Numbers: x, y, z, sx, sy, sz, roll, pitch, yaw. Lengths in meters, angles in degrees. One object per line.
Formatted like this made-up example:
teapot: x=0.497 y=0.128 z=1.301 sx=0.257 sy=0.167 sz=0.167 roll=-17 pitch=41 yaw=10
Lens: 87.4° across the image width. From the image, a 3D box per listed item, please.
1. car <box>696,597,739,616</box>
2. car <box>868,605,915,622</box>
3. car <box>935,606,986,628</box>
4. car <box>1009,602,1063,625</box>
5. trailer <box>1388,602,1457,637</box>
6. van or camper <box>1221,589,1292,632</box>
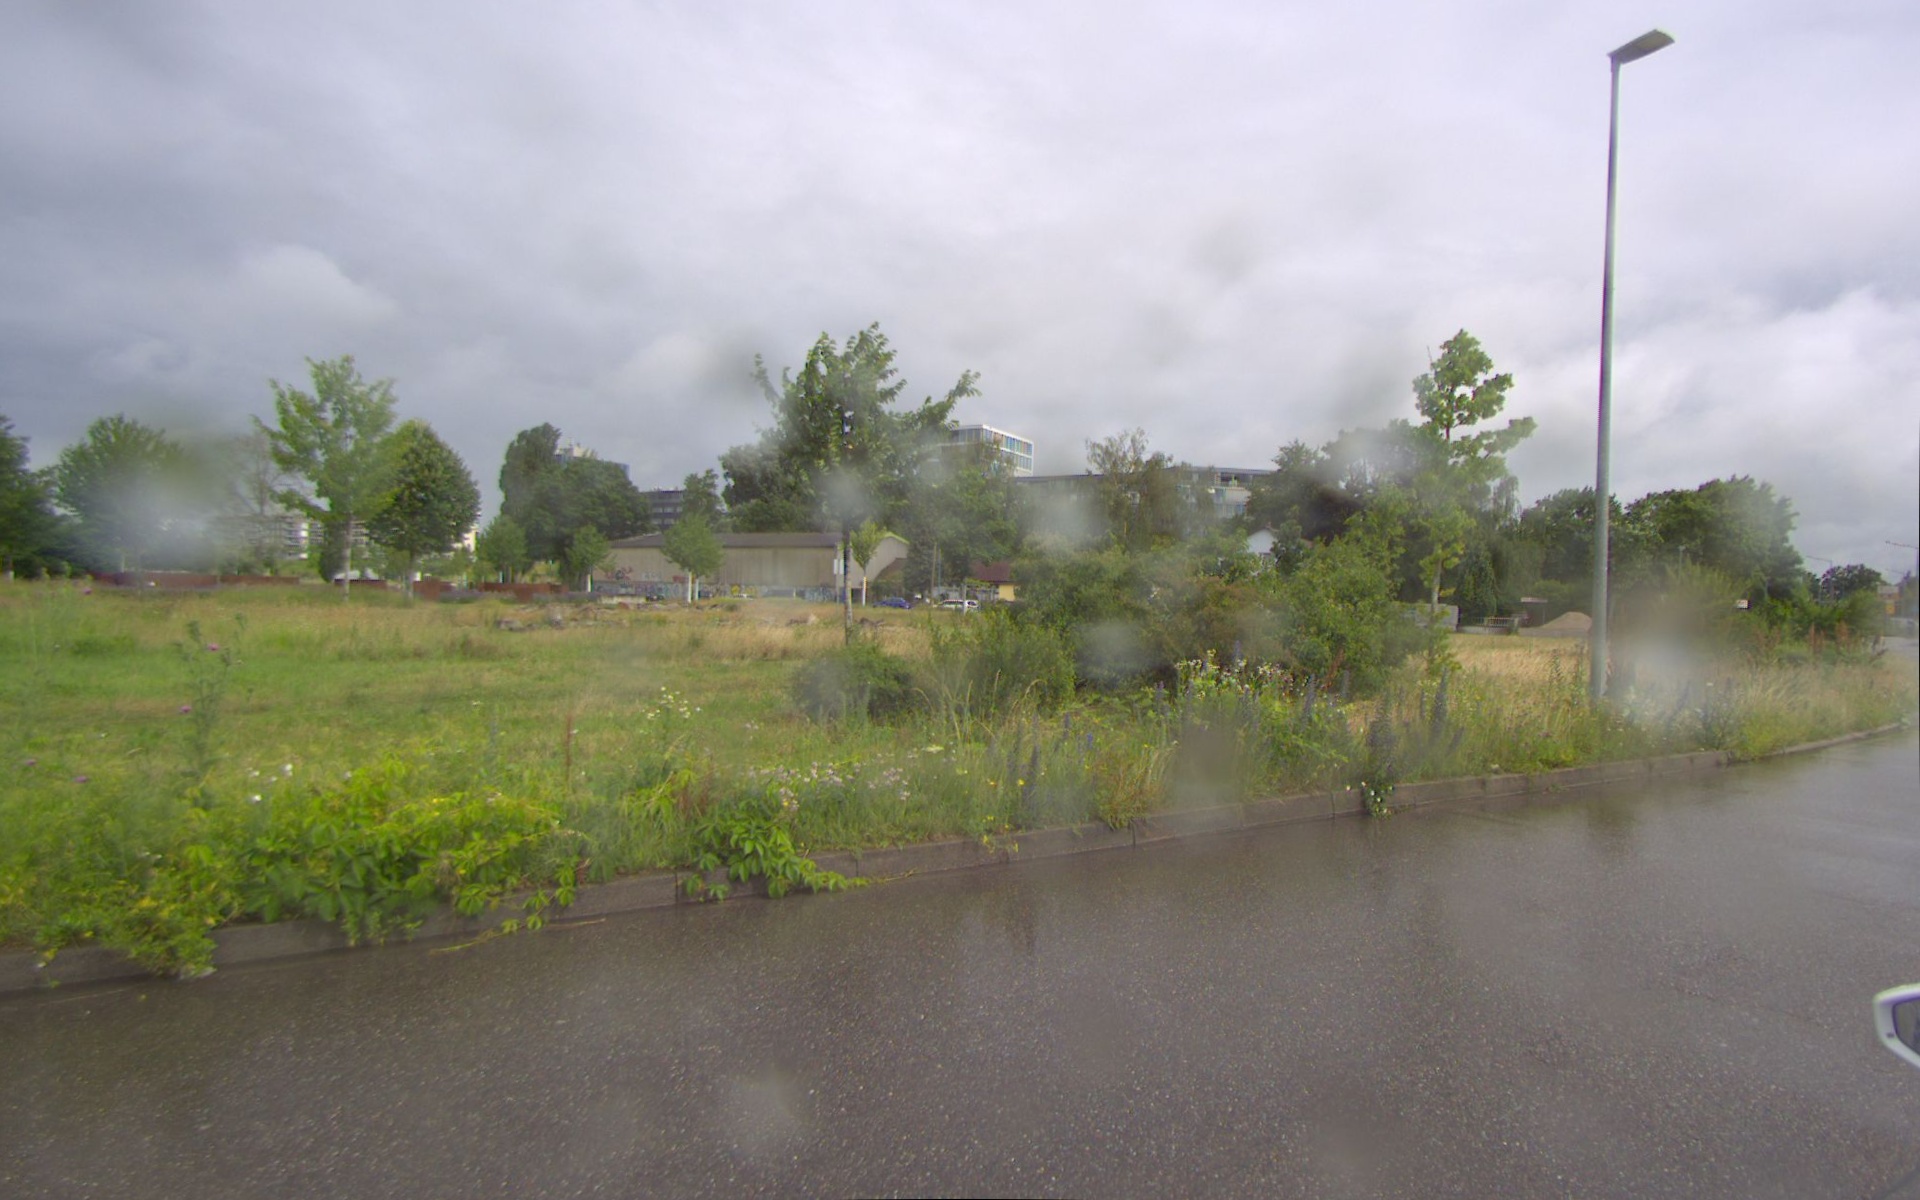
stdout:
car: x=-24.166 y=0.670 z=99.991 sx=3.930 sy=1.751 sz=1.995 roll=2 pitch=0 yaw=32
car: x=-6.080 y=1.172 z=89.119 sx=3.930 sy=1.417 sz=1.641 roll=2 pitch=0 yaw=32
car: x=0.060 y=1.417 z=85.485 sx=3.930 sy=1.726 sz=1.877 roll=2 pitch=0 yaw=32
car: x=6.193 y=1.116 z=81.845 sx=3.929 sy=1.706 sz=1.996 roll=2 pitch=0 yaw=30
trailer: x=31.320 y=1.305 z=68.059 sx=4.040 sy=2.117 sz=1.841 roll=3 pitch=1 yaw=30
van or camper: x=21.566 y=0.758 z=73.110 sx=4.438 sy=2.985 sz=2.478 roll=2 pitch=0 yaw=33
